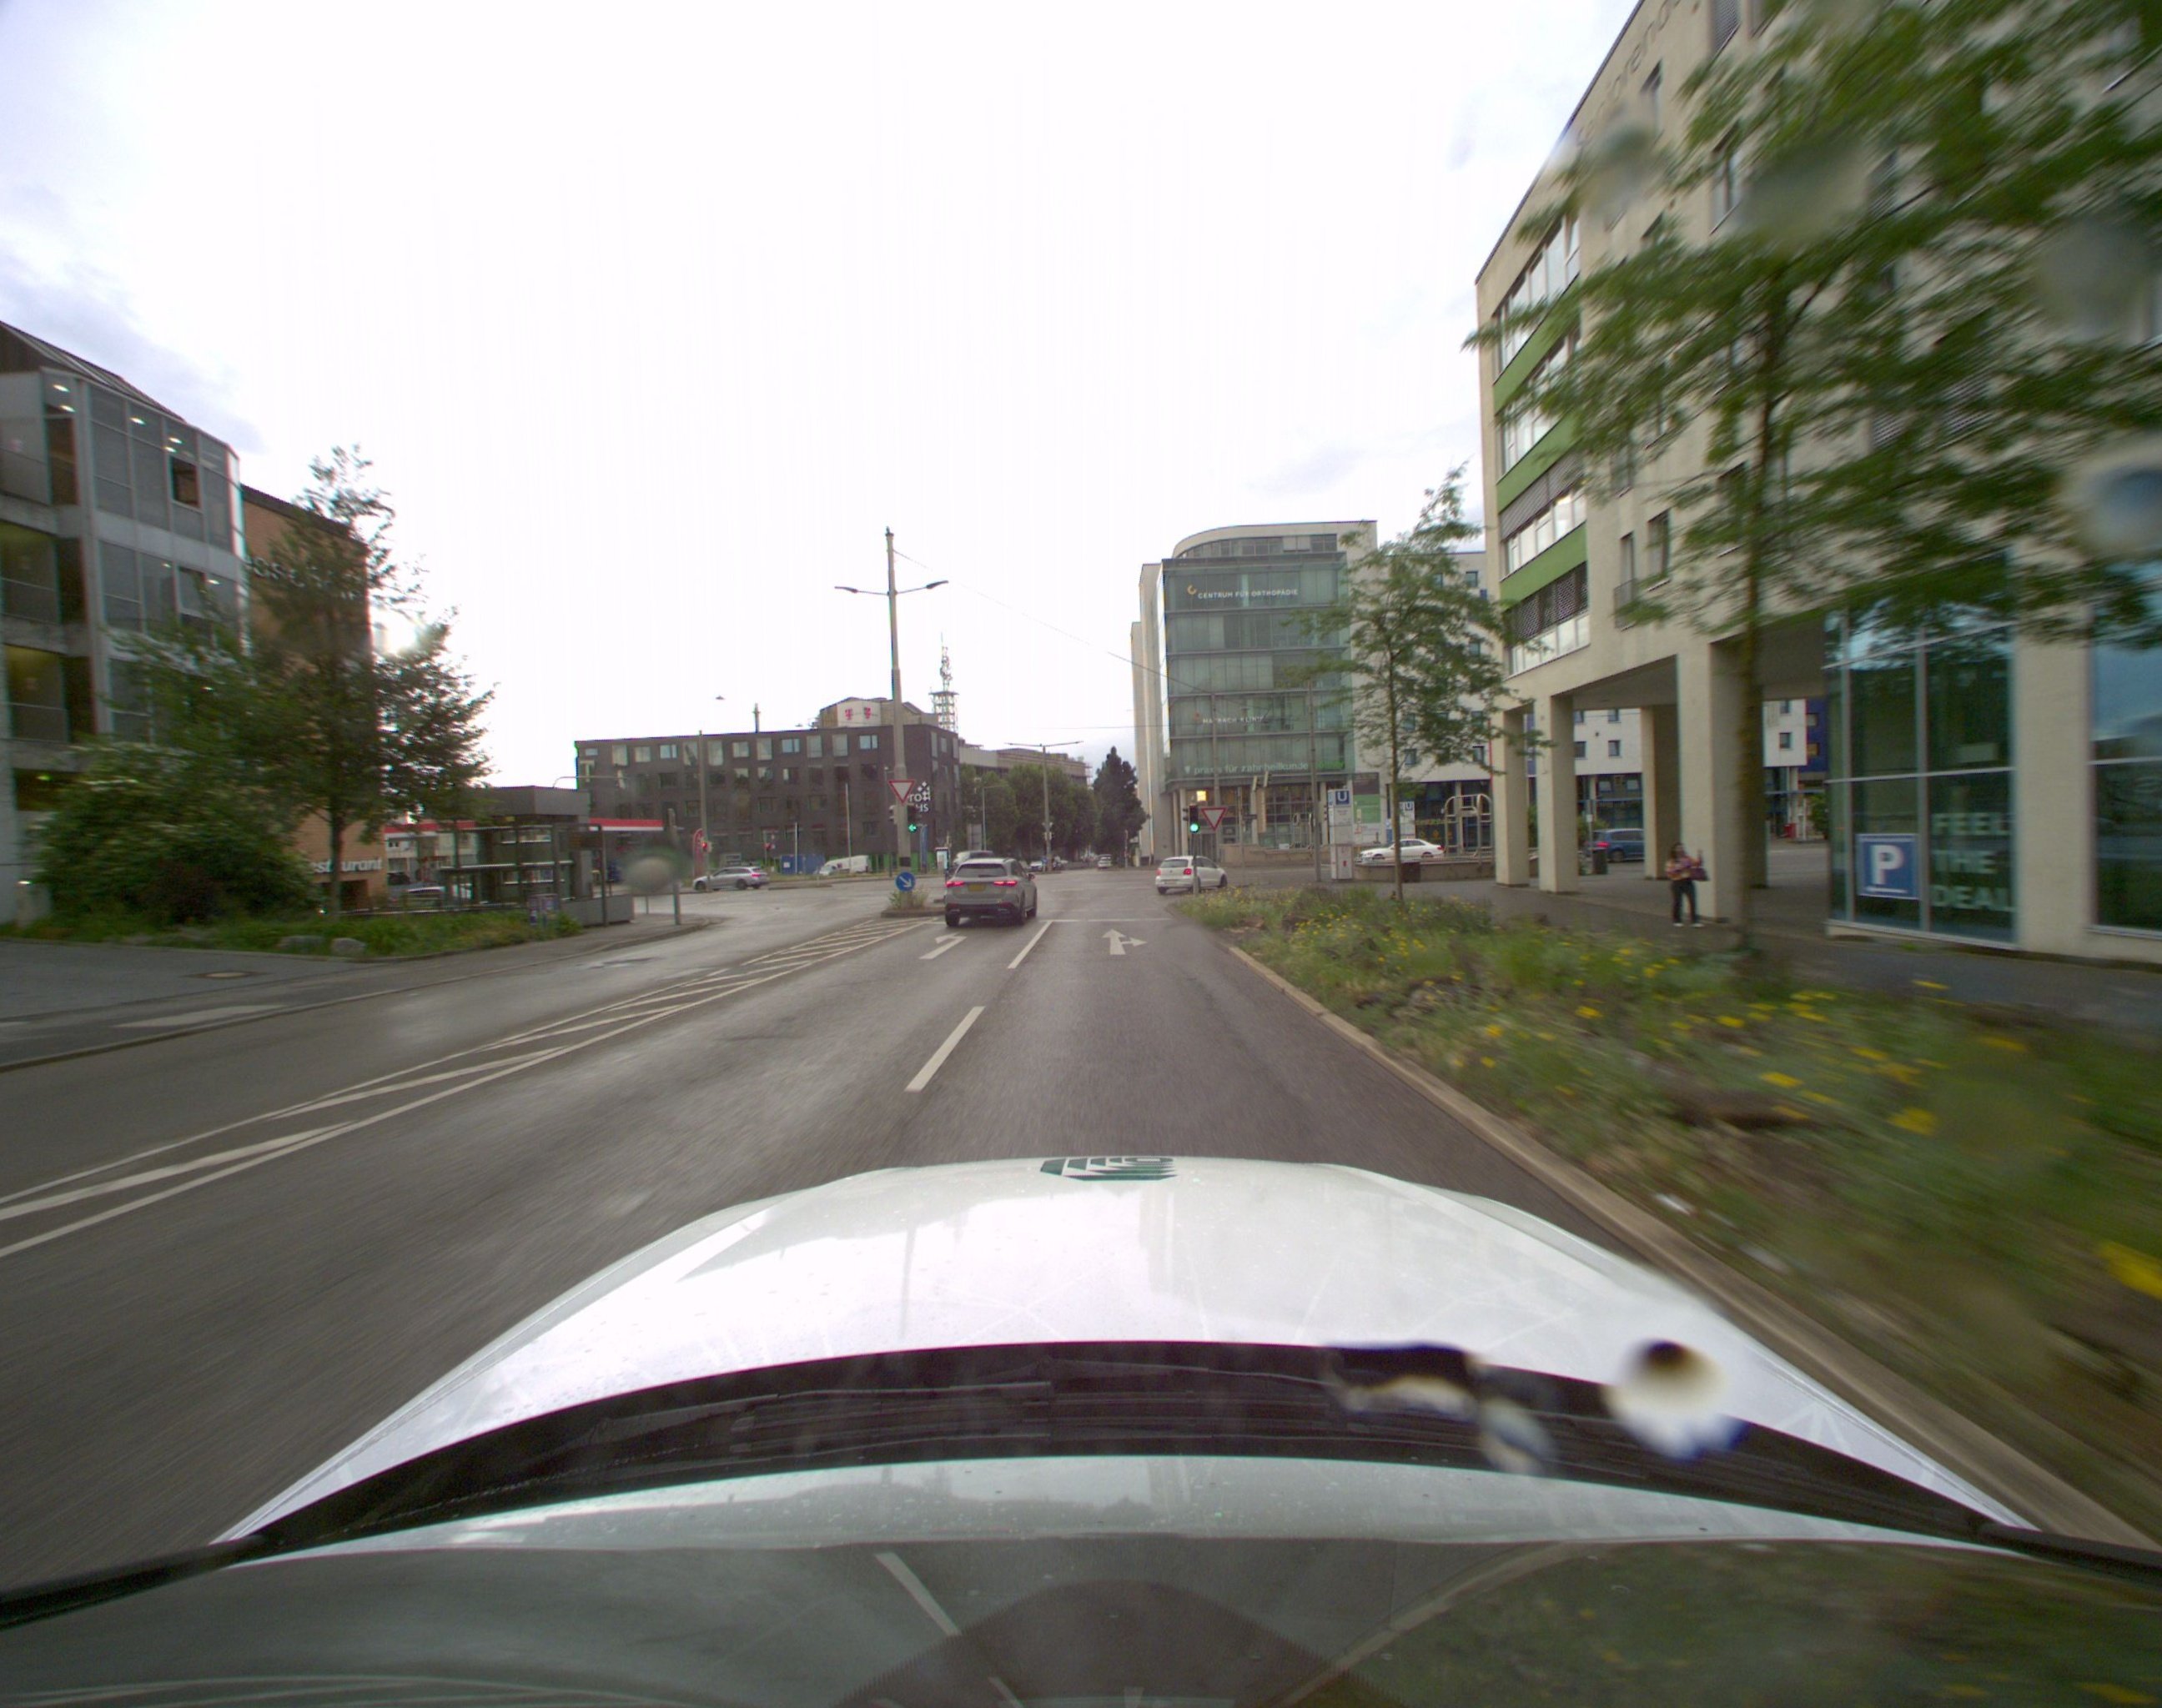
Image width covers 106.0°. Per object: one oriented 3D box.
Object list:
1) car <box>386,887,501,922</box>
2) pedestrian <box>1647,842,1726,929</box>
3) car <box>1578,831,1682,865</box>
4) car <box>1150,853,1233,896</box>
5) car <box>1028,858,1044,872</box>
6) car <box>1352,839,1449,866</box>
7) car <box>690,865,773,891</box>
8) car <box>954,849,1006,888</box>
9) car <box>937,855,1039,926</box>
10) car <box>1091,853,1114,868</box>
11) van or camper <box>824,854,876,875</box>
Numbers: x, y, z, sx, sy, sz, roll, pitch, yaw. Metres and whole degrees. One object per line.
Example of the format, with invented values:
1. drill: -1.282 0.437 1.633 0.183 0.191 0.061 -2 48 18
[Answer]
1. car: -29.734 2.343 38.052 3.973 1.321 1.651 -2 2 1
2. pedestrian: 12.307 0.621 16.591 0.867 1.712 1.090 -1 0 8
3. car: 27.693 -0.318 41.179 3.980 1.574 1.997 -2 1 -5
4. car: 4.514 0.800 32.851 1.655 1.473 3.804 -1 2 37
5. car: -6.507 1.601 118.844 1.986 2.014 4.000 0 -1 1
6. car: 18.649 -0.083 47.692 4.931 1.387 1.823 -2 1 0
7. car: -22.089 1.509 51.542 4.449 1.579 2.005 0 -1 10
8. car: -5.173 0.717 41.131 1.857 1.768 4.107 -2 0 -17
9. car: -2.257 0.881 20.948 1.900 1.632 4.214 0 -1 3
10. car: 2.474 0.769 93.468 1.993 1.717 3.988 0 -1 -8
11. van or camper: -27.021 1.272 95.361 5.312 2.369 2.739 0 -1 0
